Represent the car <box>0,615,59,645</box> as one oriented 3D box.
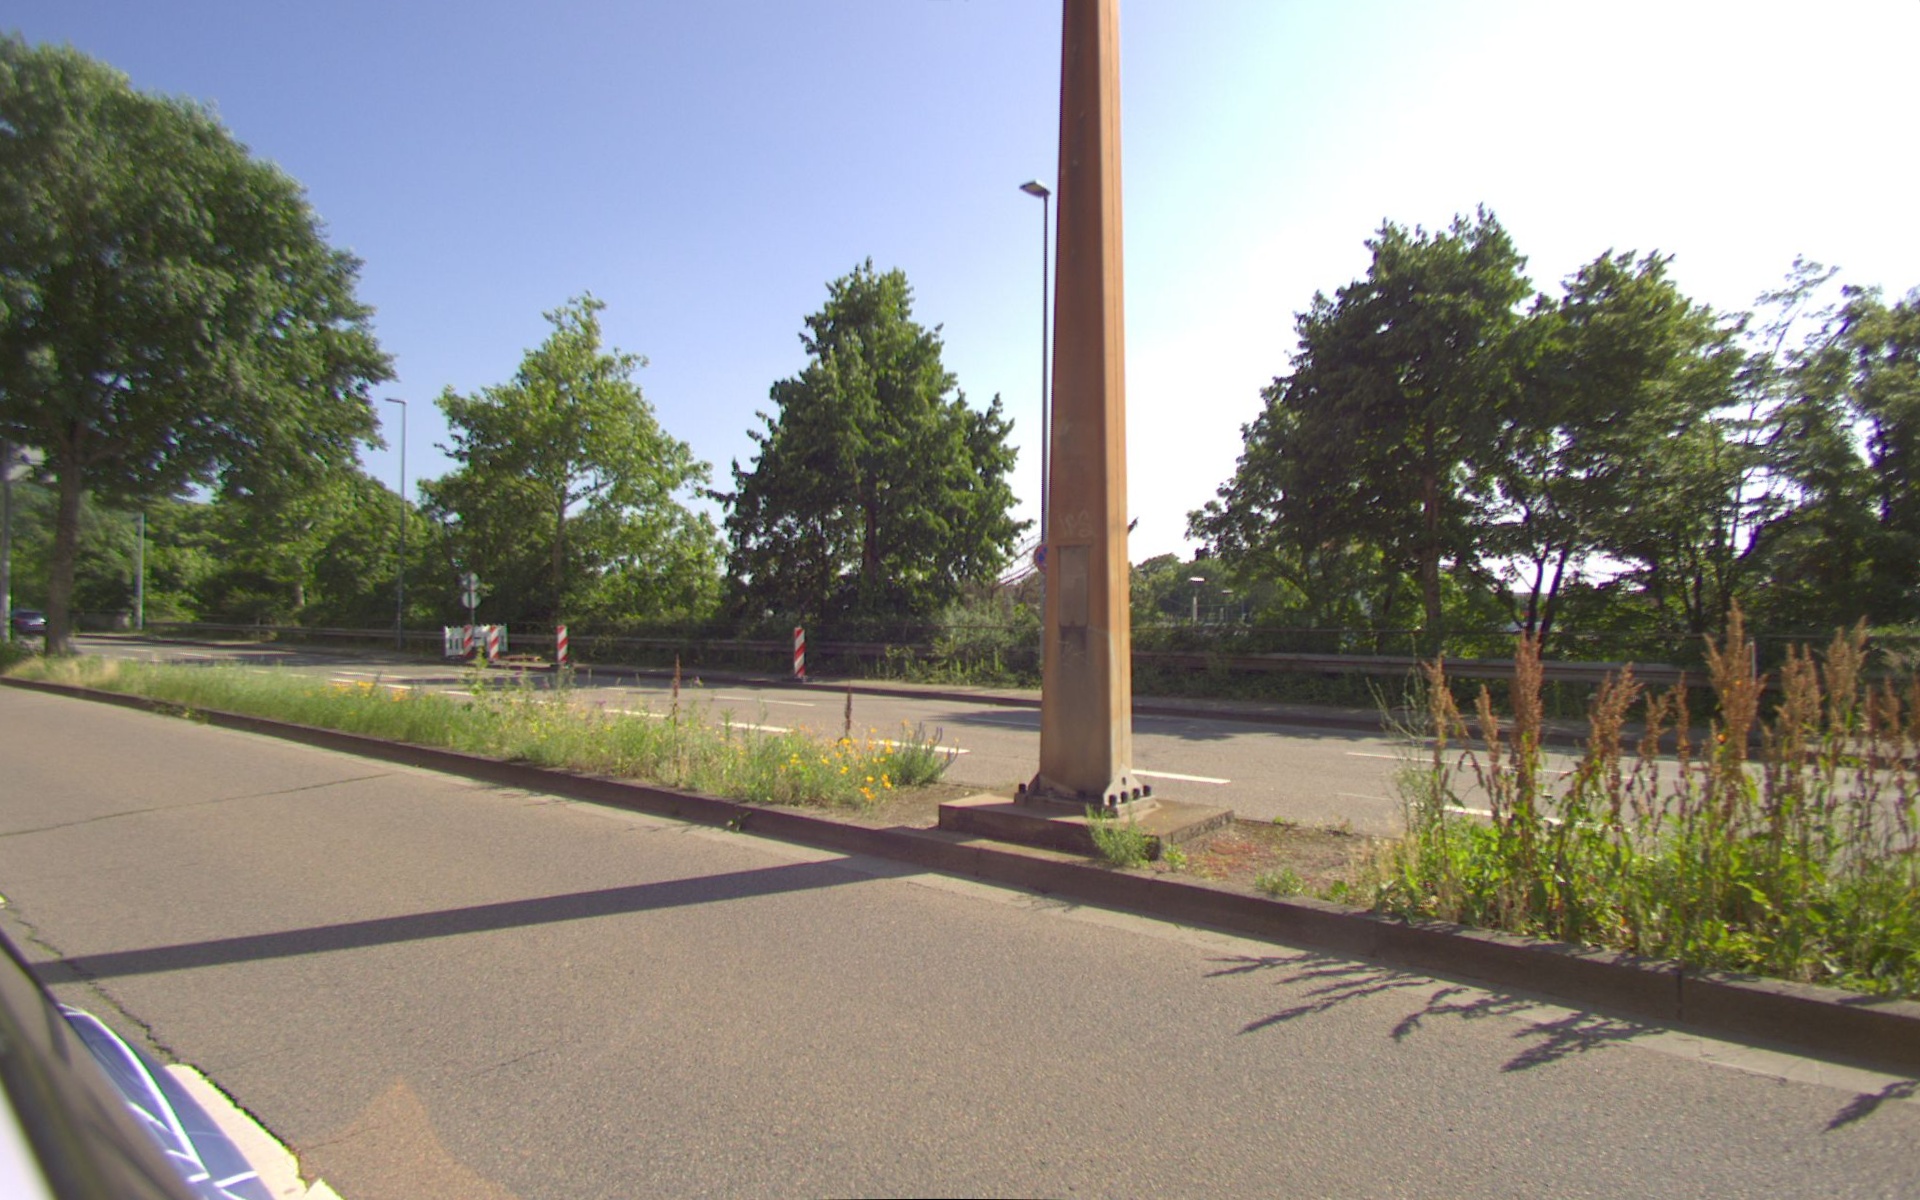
[{"bbox_3d":[-51.145,1.600,55.036,4.683,1.540,1.978,0,-3,32],"label":"car"}]
